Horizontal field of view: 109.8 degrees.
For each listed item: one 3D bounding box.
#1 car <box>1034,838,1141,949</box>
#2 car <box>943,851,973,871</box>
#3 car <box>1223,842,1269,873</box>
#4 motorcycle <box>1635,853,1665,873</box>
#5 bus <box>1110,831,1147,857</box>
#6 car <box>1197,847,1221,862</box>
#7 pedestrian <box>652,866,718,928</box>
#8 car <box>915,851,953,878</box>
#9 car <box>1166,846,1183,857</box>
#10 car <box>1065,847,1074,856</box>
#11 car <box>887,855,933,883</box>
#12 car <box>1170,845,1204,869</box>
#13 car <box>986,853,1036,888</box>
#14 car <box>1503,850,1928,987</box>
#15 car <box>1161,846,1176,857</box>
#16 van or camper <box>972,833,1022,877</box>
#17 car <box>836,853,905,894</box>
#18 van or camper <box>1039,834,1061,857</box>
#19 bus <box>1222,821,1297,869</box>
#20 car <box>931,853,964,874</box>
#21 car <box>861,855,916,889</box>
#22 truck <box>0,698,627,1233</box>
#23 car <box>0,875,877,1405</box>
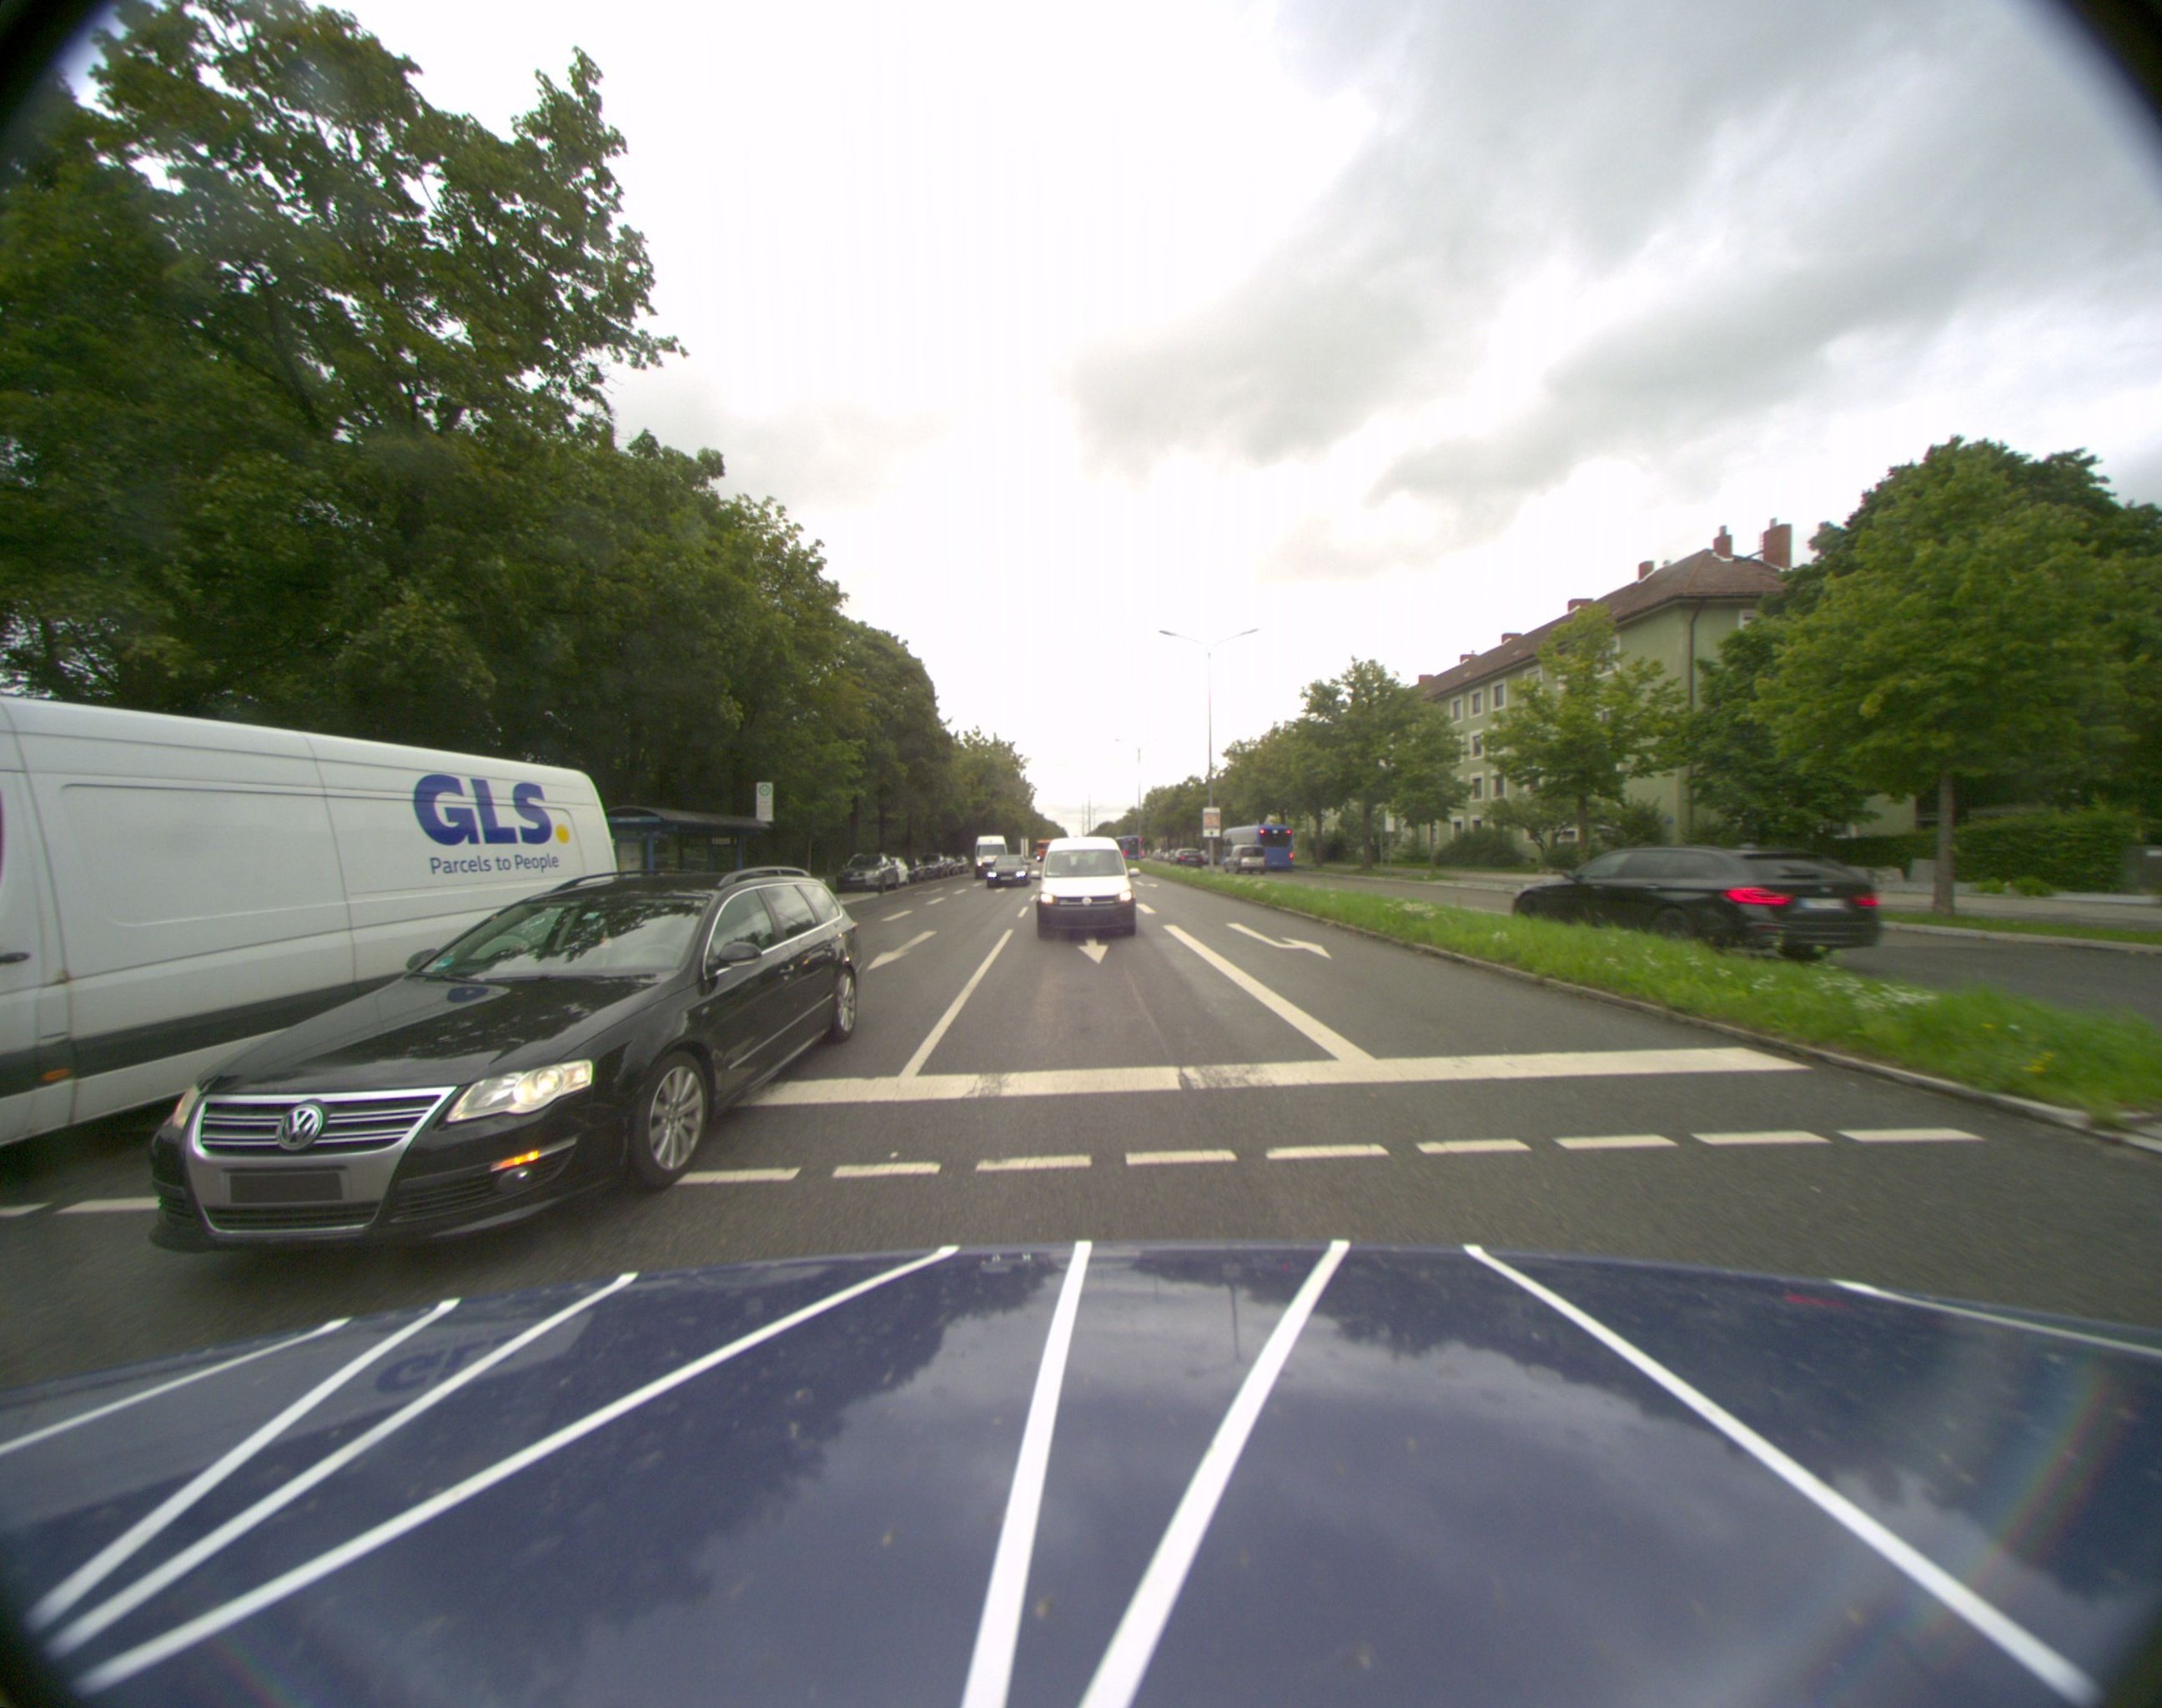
[{"bbox_3d":[0.069,0.626,14.965,1.752,1.809,4.670,-1,1,-1],"label":"car"},{"bbox_3d":[-9.718,0.510,60.340,1.752,1.459,4.254,-1,1,-1],"label":"car"},{"bbox_3d":[10.389,0.169,48.106,1.784,1.801,4.429,2,1,-2],"label":"car"},{"bbox_3d":[25.285,0.385,33.781,0.434,0.877,1.234,-1,1,-1],"label":"motorcycle"},{"bbox_3d":[6.352,-1.413,103.650,2.754,3.324,12.264,0,1,-7],"label":"bus"},{"bbox_3d":[13.533,0.038,80.504,1.857,1.454,3.909,-2,1,0],"label":"car"},{"bbox_3d":[-9.391,1.008,18.050,1.157,1.375,0.611,-4,1,-2],"label":"pedestrian"},{"bbox_3d":[-9.603,0.655,49.886,1.752,1.640,4.254,-1,1,-1],"label":"car"},{"bbox_3d":[13.164,-0.332,107.442,1.857,1.454,3.909,-2,1,0],"label":"car"},{"bbox_3d":[-2.613,-0.640,173.352,1.998,2.002,3.999,-1,1,1],"label":"car"},{"bbox_3d":[-9.900,0.837,44.248,1.752,1.420,4.254,-1,1,-1],"label":"car"},{"bbox_3d":[7.328,0.194,52.872,1.702,1.561,4.290,-1,1,-2],"label":"car"},{"bbox_3d":[-3.179,0.724,35.514,1.819,1.421,4.671,-1,1,1],"label":"car"},{"bbox_3d":[8.419,0.715,10.905,1.931,1.454,4.897,1,1,-1],"label":"car"},{"bbox_3d":[13.058,-0.392,113.400,1.857,1.454,3.909,-2,1,0],"label":"car"},{"bbox_3d":[-5.142,0.027,47.533,2.183,2.546,7.073,-1,1,1],"label":"van or camper"},{"bbox_3d":[-9.226,0.802,33.630,1.884,1.640,4.395,-1,1,-1],"label":"car"},{"bbox_3d":[-4.496,-1.208,112.141,2.780,3.219,7.073,-1,1,1],"label":"van or camper"},{"bbox_3d":[13.529,-0.719,58.983,2.752,3.324,12.046,1,1,-1],"label":"bus"},{"bbox_3d":[-9.677,0.660,55.494,1.752,1.459,4.037,-1,1,-1],"label":"car"},{"bbox_3d":[-9.716,0.872,38.713,1.752,1.515,4.395,-1,1,-1],"label":"car"},{"bbox_3d":[-6.235,0.536,5.066,1.998,2.589,7.225,-1,1,0],"label":"truck"},{"bbox_3d":[-2.768,0.980,4.765,1.752,1.466,4.670,-2,1,-1],"label":"car"}]
